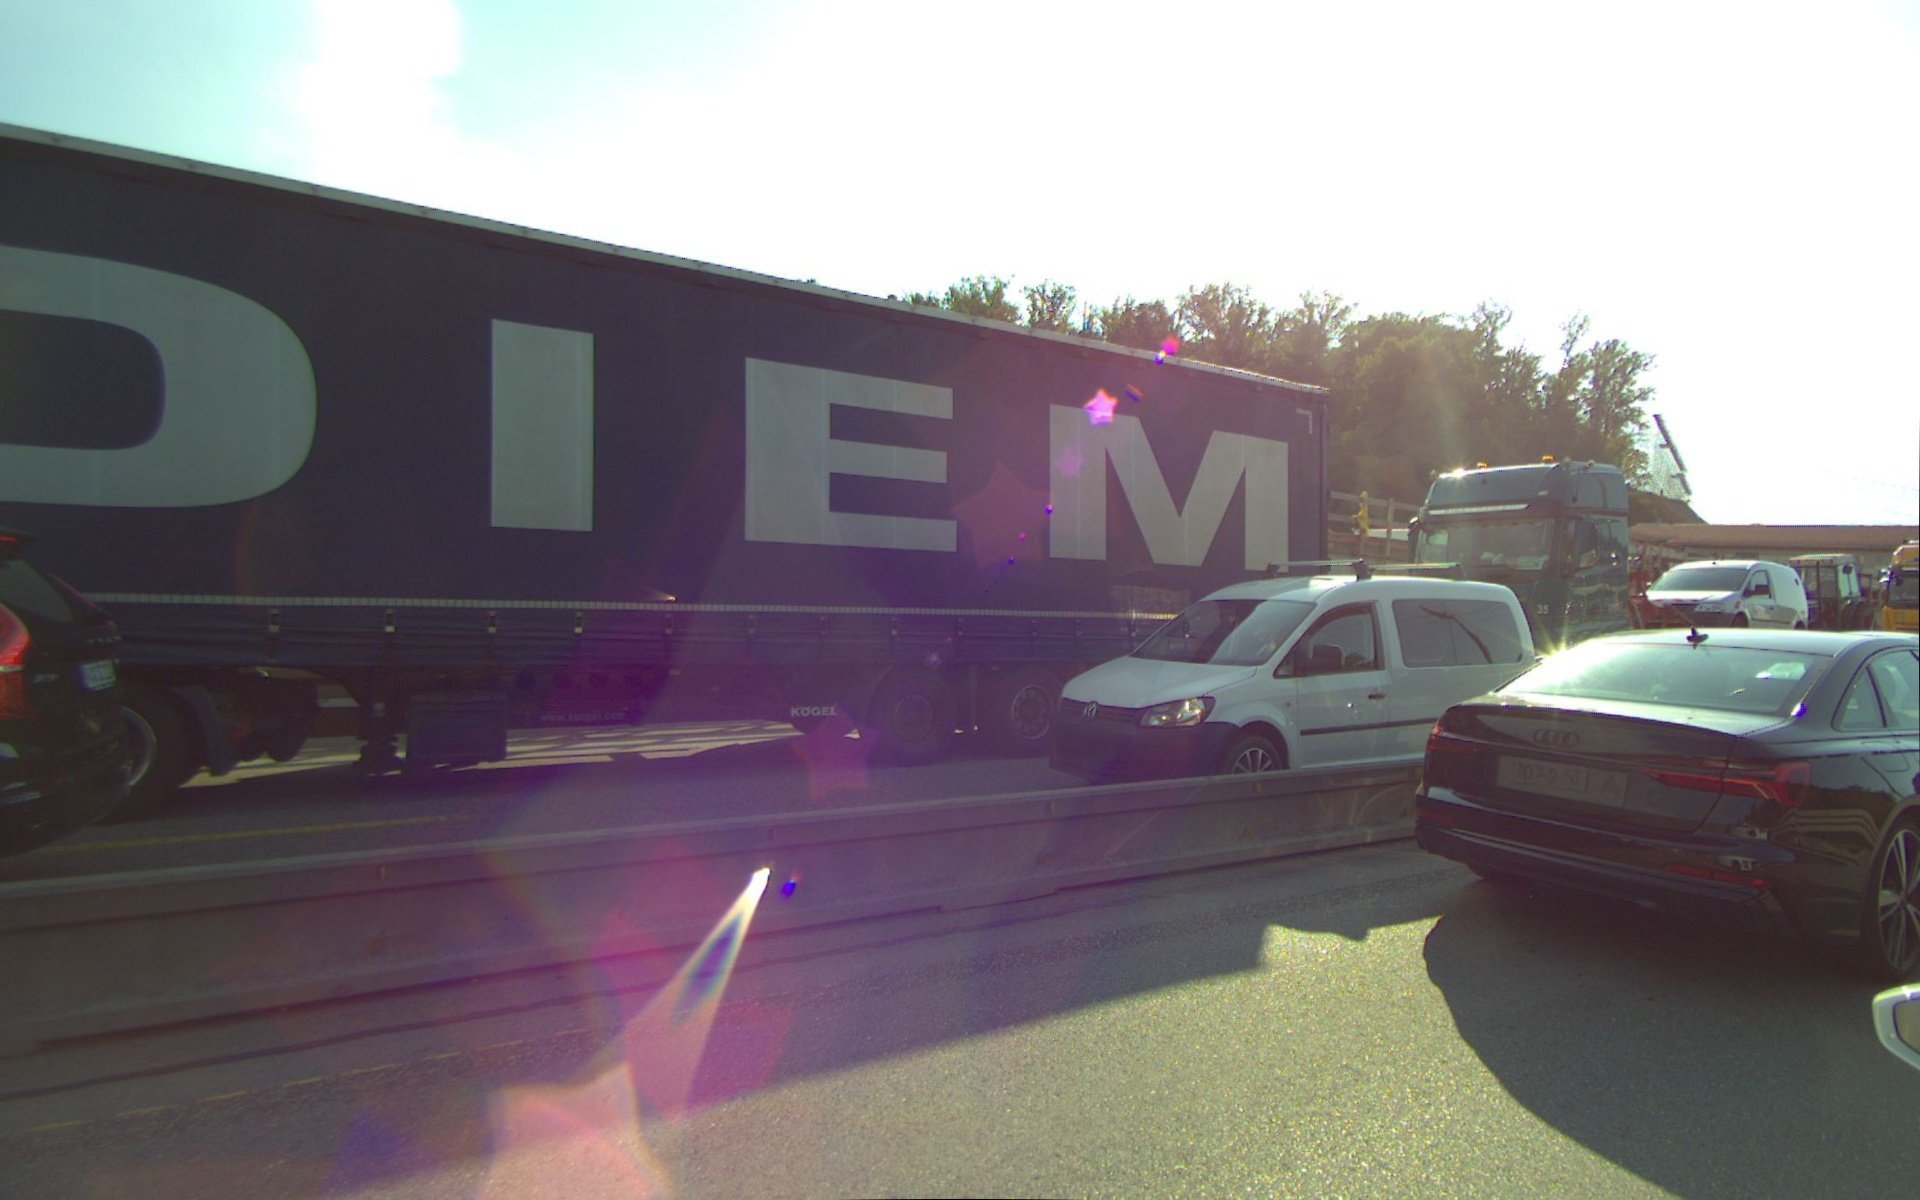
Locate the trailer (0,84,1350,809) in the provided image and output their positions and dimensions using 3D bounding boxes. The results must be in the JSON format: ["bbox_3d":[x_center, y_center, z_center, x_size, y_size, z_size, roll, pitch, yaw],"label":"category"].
[{"bbox_3d":[-1.356,-0.699,9.893,12.349,4.177,2.701,2,-1,-31],"label":"trailer"}]

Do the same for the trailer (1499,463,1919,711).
[{"bbox_3d":[17.088,0.051,20.980,15.867,3.866,2.734,2,-1,-32],"label":"trailer"}]

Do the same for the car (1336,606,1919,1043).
[{"bbox_3d":[4.632,0.864,5.613,5.161,1.500,1.931,2,-1,-30],"label":"car"}]

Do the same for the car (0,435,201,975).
[{"bbox_3d":[-5.791,0.287,3.414,4.843,1.989,1.824,3,-1,-31],"label":"car"}]

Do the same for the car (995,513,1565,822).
[{"bbox_3d":[2.894,0.565,8.533,5.075,1.958,1.813,3,-4,-33],"label":"car"}]

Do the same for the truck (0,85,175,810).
[{"bbox_3d":[-7.995,-0.928,5.842,4.974,4.169,2.735,2,-1,-32],"label":"truck"}]

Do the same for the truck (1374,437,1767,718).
[{"bbox_3d":[10.338,-0.187,16.779,7.032,3.856,2.734,2,-1,-32],"label":"truck"}]

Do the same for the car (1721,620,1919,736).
[{"bbox_3d":[13.849,1.145,15.432,4.761,1.541,1.794,2,-2,-30],"label":"car"}]

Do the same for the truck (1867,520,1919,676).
[{"bbox_3d":[28.397,0.049,28.378,5.733,4.195,2.685,3,-1,-33],"label":"truck"}]

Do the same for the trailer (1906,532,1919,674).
[{"bbox_3d":[35.835,0.409,33.296,16.575,4.189,2.699,3,-1,-33],"label":"trailer"}]
